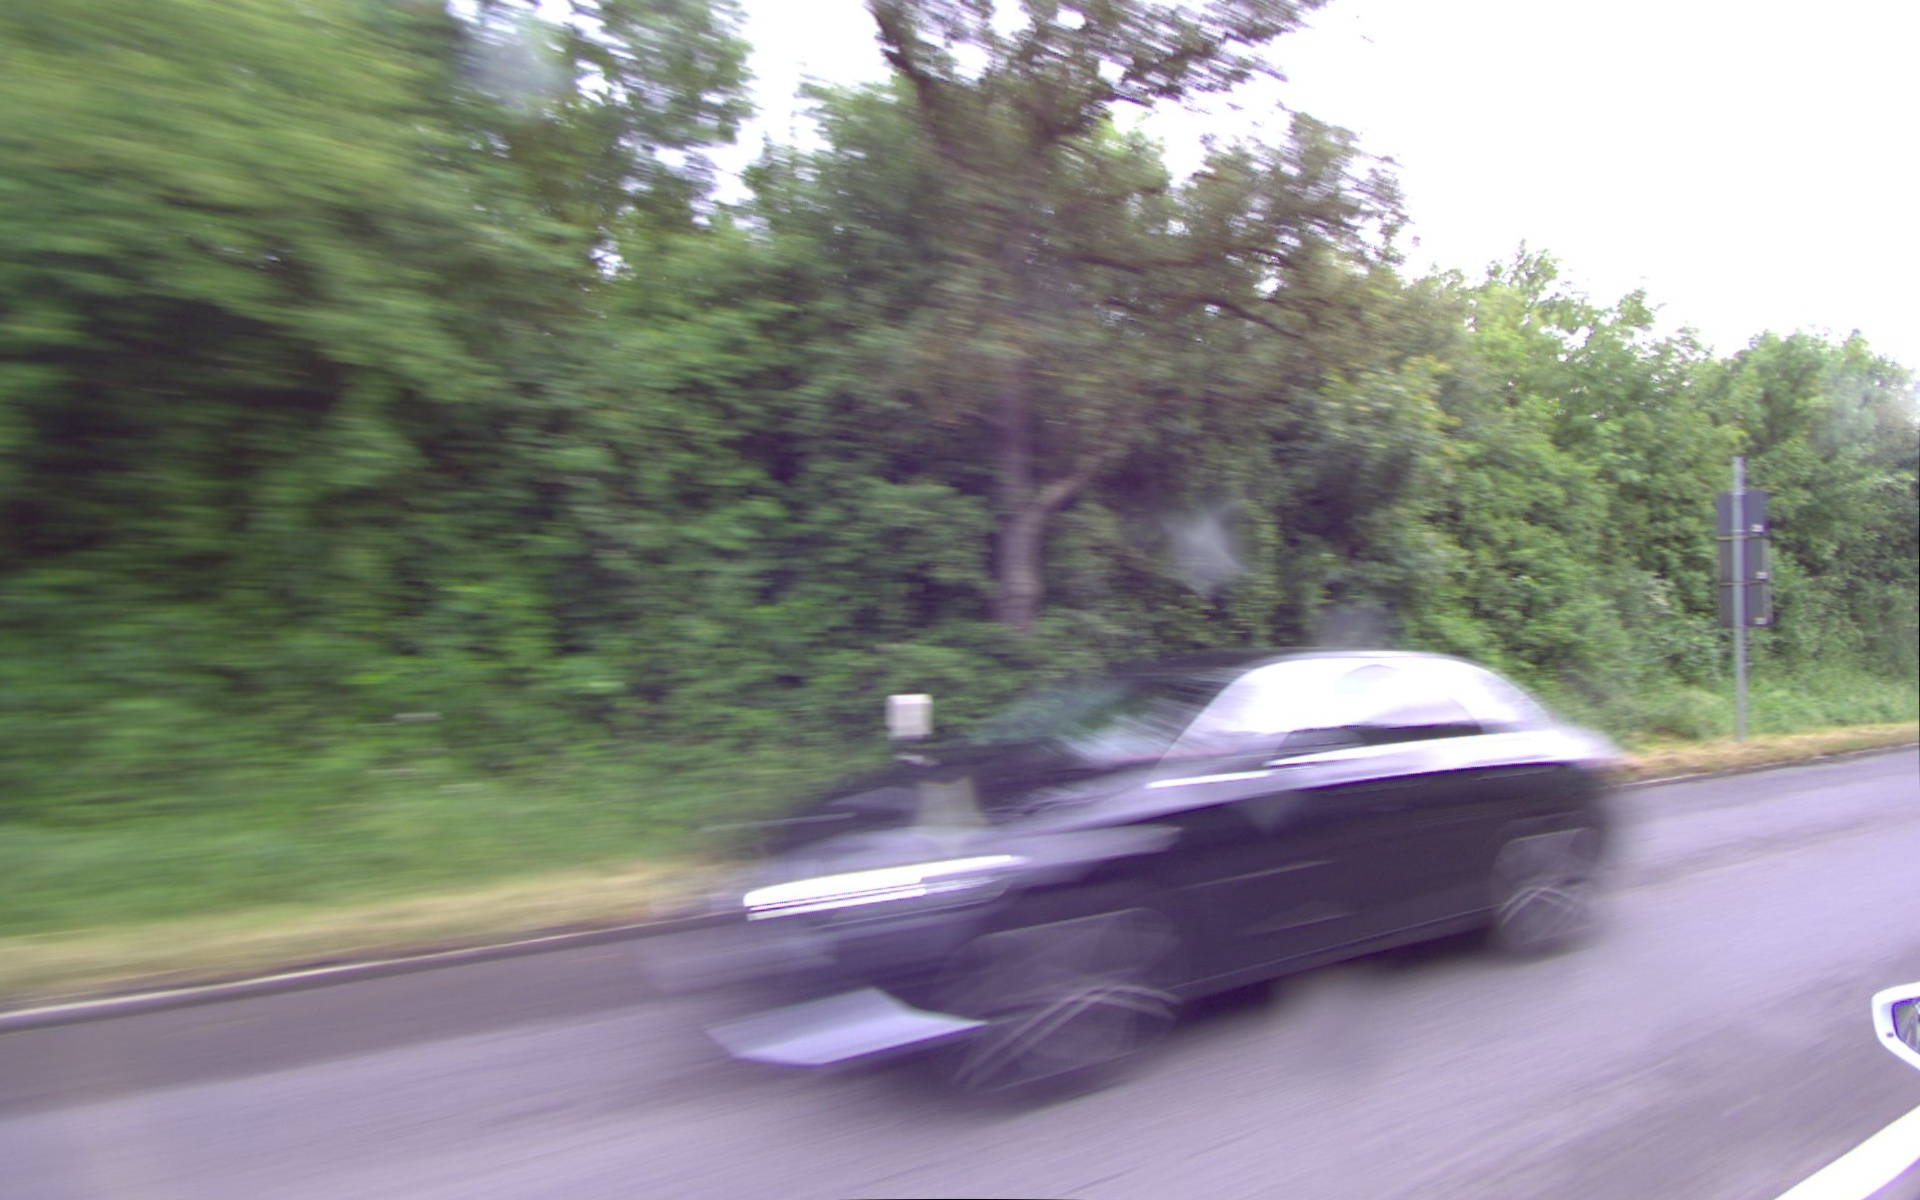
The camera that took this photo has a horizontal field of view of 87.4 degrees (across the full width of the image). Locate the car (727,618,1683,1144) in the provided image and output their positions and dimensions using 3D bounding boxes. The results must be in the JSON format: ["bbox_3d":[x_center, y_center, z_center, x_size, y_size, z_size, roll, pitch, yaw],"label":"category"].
[{"bbox_3d":[1.350,0.926,4.895,4.522,1.508,1.862,2,-4,-31],"label":"car"}]
